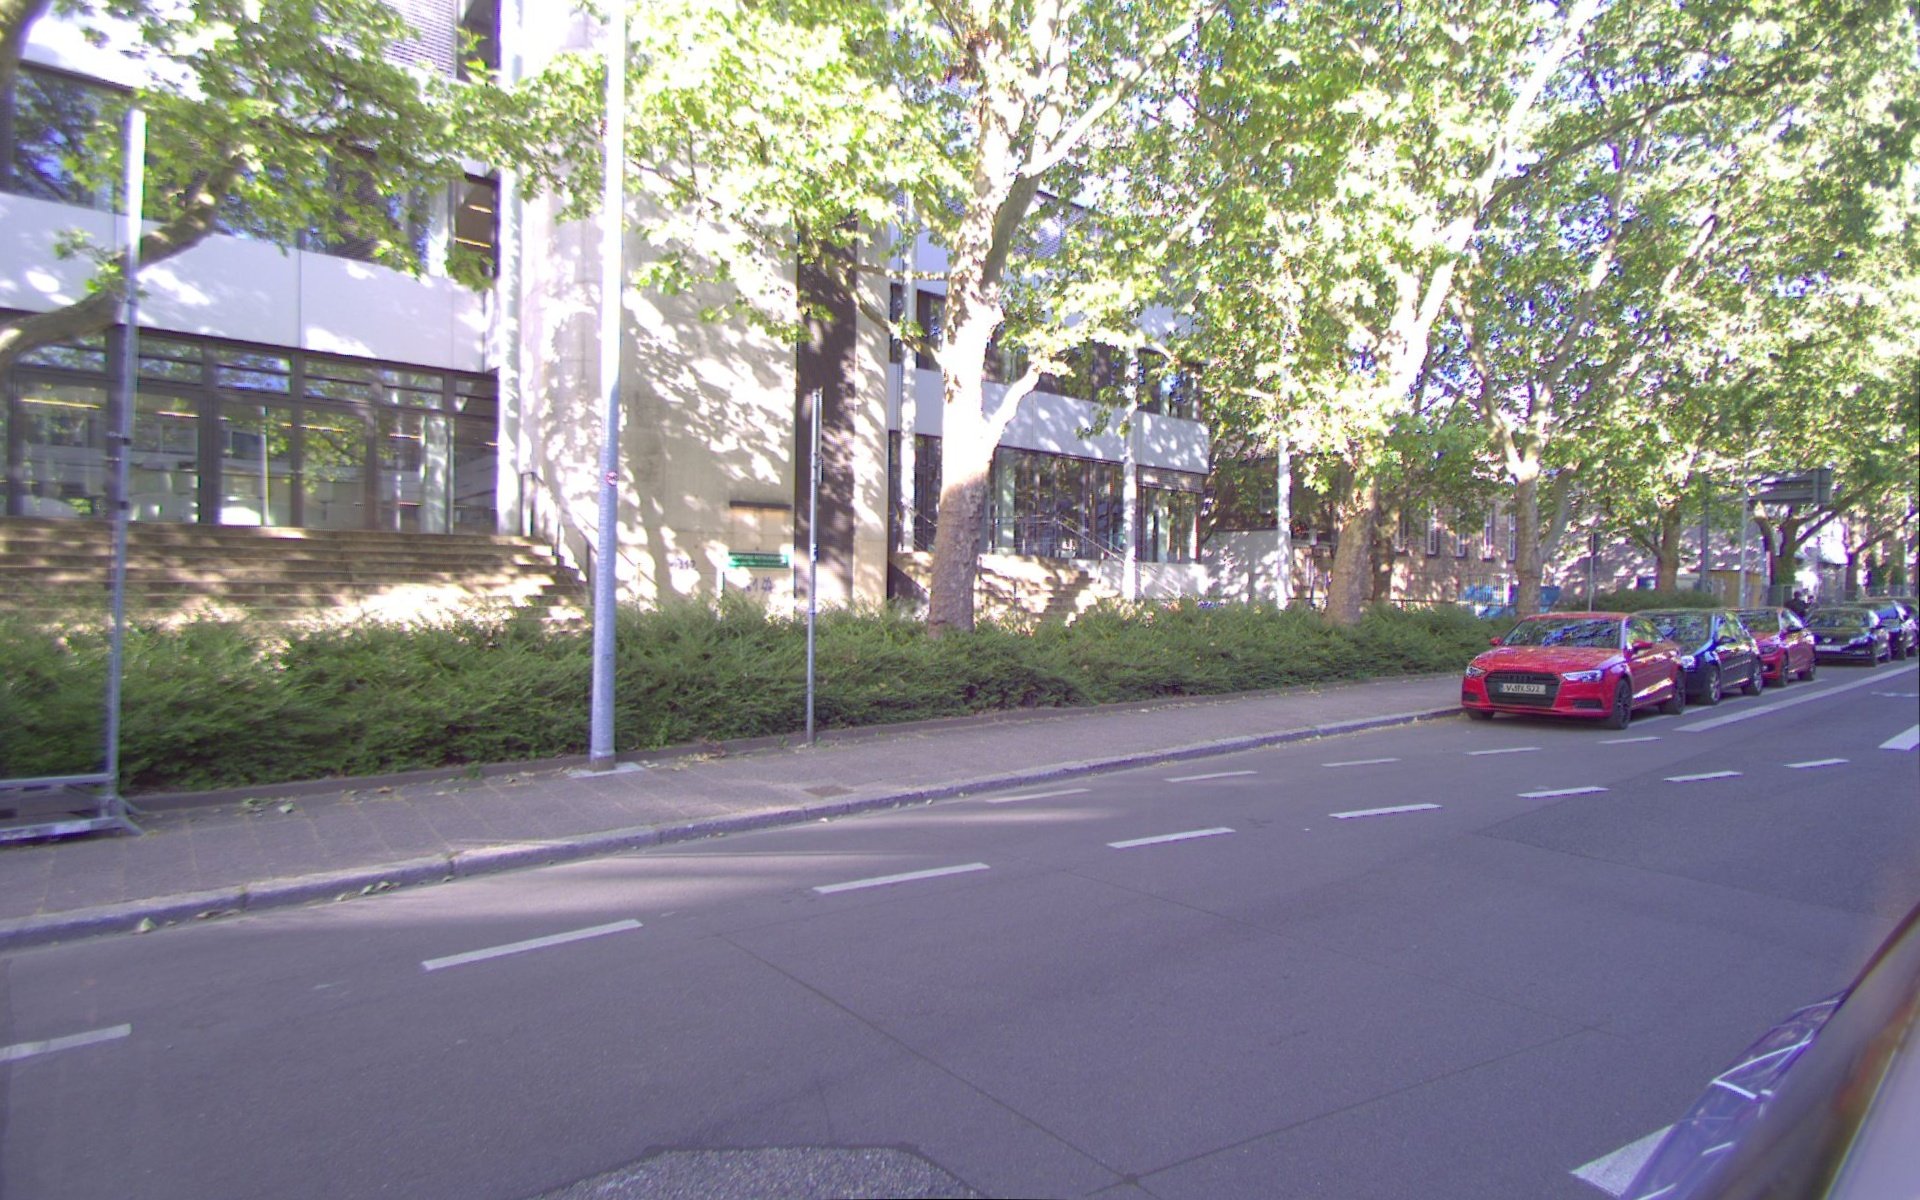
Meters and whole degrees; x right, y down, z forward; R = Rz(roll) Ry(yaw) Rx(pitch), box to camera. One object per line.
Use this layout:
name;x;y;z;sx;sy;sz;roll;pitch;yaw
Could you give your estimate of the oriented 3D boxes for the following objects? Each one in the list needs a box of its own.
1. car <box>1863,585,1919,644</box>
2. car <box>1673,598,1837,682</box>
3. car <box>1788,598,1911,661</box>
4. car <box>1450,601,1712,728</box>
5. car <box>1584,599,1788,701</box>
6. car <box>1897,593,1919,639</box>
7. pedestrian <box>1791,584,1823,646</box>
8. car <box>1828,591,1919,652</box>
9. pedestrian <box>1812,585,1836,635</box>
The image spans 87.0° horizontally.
car;31.052;0.437;32.976;4.383;1.820;1.834;0;0;-40
car;15.844;0.707;20.101;4.095;1.486;1.834;0;0;-41
car;22.877;0.701;25.992;4.095;1.486;1.834;0;0;-41
car;8.409;0.735;13.570;4.173;1.422;1.834;0;0;-41
car;12.029;0.717;16.686;4.095;1.464;1.834;0;0;-41
car;35.915;0.579;37.101;4.183;1.634;1.834;0;0;-40
pedestrian;26.100;0.447;31.190;0.629;1.884;0.660;0;0;-41
car;26.566;0.571;29.086;4.088;1.626;1.834;0;0;-40
pedestrian;31.740;0.351;37.176;0.583;1.818;0.600;0;0;-41
